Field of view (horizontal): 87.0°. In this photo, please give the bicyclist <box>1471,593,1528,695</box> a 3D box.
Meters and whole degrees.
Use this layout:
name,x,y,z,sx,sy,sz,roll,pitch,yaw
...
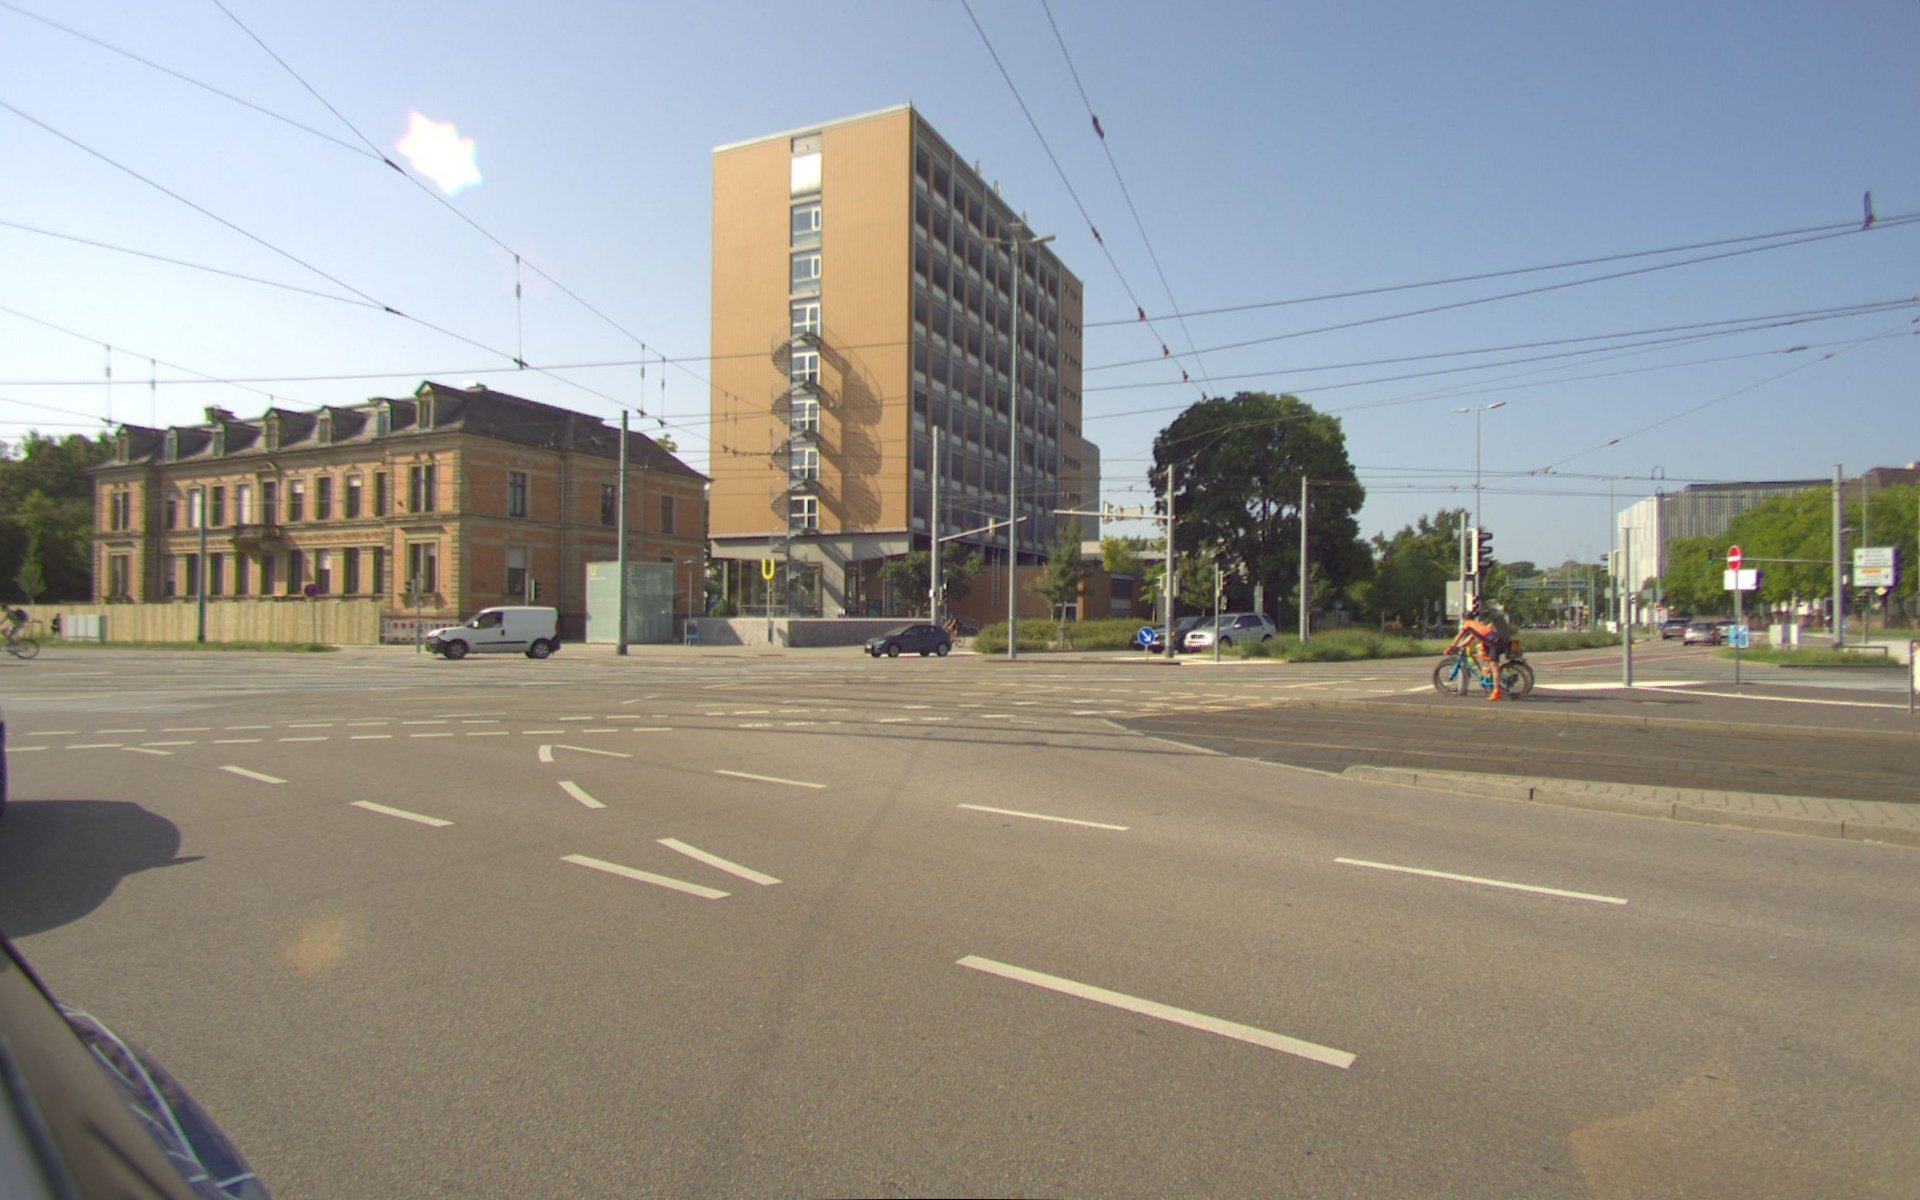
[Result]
name,x,y,z,sx,sy,sz,roll,pitch,yaw
bicyclist,10.795,0.863,20.262,0.572,1.989,0.809,1,-2,-38

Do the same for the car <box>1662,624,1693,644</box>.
name,x,y,z,sx,sy,sz,roll,pitch,yaw
car,54.542,2.562,76.914,1.493,1.462,3.474,-1,-2,43

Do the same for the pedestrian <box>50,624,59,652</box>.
name,x,y,z,sx,sy,sz,roll,pitch,yaw
pedestrian,-48.719,2.043,54.448,0.325,1.542,0.235,0,-2,25

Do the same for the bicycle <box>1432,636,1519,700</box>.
name,x,y,z,sx,sy,sz,roll,pitch,yaw
bicycle,9.916,1.280,19.504,0.306,1.174,1.502,1,-2,-37

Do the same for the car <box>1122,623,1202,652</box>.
name,x,y,z,sx,sy,sz,roll,pitch,yaw
car,10.754,1.990,53.804,4.253,1.476,1.678,1,-4,-35

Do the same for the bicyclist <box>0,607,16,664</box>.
name,x,y,z,sx,sy,sz,roll,pitch,yaw
bicyclist,-32.395,1.194,34.166,0.699,1.876,0.783,1,-2,-39

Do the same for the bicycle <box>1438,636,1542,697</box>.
name,x,y,z,sx,sy,sz,roll,pitch,yaw
bicycle,10.663,1.314,20.433,0.371,1.174,1.863,1,-2,-37

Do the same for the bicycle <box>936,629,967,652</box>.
name,x,y,z,sx,sy,sz,roll,pitch,yaw
bicycle,-0.433,2.134,53.648,1.743,1.203,0.402,1,-2,-36

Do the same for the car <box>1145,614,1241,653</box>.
name,x,y,z,sx,sy,sz,roll,pitch,yaw
car,10.754,1.548,46.578,4.218,1.720,1.931,1,-4,-35

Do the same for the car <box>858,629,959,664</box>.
name,x,y,z,sx,sy,sz,roll,pitch,yaw
car,-2.273,2.071,44.956,4.218,1.476,1.678,1,-4,-35

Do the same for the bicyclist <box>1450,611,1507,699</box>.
name,x,y,z,sx,sy,sz,roll,pitch,yaw
bicyclist,9.953,1.045,19.426,0.503,1.642,0.809,1,-2,-38

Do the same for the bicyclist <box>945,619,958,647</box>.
name,x,y,z,sx,sy,sz,roll,pitch,yaw
bicyclist,-0.461,1.736,53.642,0.540,1.491,0.398,1,-2,-35

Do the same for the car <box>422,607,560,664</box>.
name,x,y,z,sx,sy,sz,roll,pitch,yaw
car,-16.536,1.260,35.746,4.217,1.901,1.800,1,-3,-32

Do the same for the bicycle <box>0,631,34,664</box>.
name,x,y,z,sx,sy,sz,roll,pitch,yaw
bicycle,-32.556,1.587,33.947,2.152,1.104,0.530,1,-2,-39

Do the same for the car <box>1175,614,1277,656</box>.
name,x,y,z,sx,sy,sz,roll,pitch,yaw
car,11.449,1.509,43.466,4.219,1.720,1.956,1,-4,-36

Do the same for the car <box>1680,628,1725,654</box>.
name,x,y,z,sx,sy,sz,roll,pitch,yaw
car,45.274,2.453,61.710,1.783,1.519,3.943,-1,-2,43

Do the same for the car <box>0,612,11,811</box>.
name,x,y,z,sx,sy,sz,roll,pitch,yaw
car,-6.531,0.794,5.292,1.786,1.438,4.784,-2,0,-38
